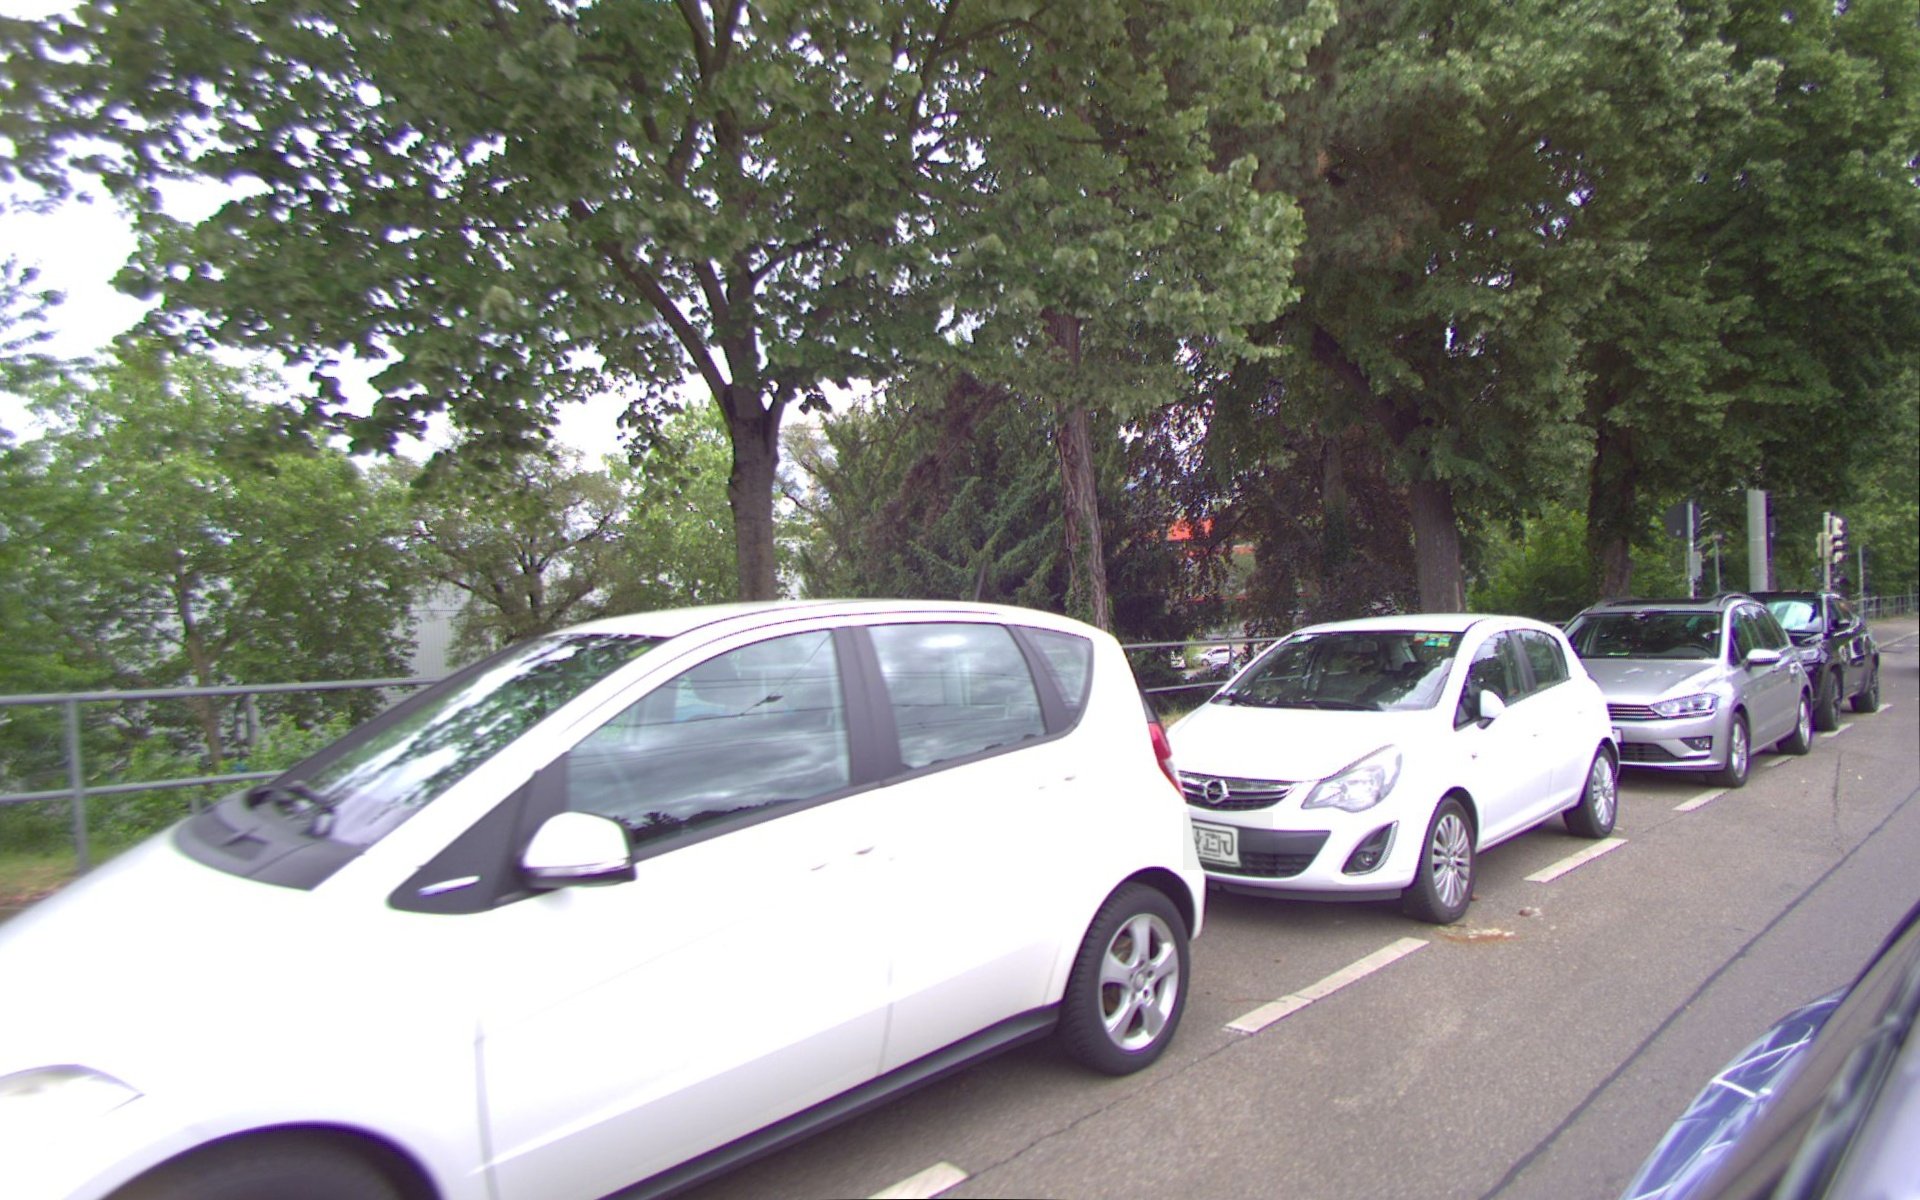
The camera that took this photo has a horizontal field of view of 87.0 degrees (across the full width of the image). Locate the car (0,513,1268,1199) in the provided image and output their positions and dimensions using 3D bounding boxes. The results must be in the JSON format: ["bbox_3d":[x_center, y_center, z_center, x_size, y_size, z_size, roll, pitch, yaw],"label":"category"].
[{"bbox_3d":[-0.928,0.726,3.166,4.018,1.653,1.728,-1,-3,-42],"label":"car"}]

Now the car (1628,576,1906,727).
[{"bbox_3d":[10.594,0.542,13.171,4.518,1.635,1.908,-1,0,-39],"label":"car"}]

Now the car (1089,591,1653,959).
[{"bbox_3d":[2.743,0.761,6.268,3.995,1.536,1.631,-1,-2,-42],"label":"car"}]

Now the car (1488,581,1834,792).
[{"bbox_3d":[6.907,0.635,9.794,4.289,1.595,1.737,-1,0,-41],"label":"car"}]
